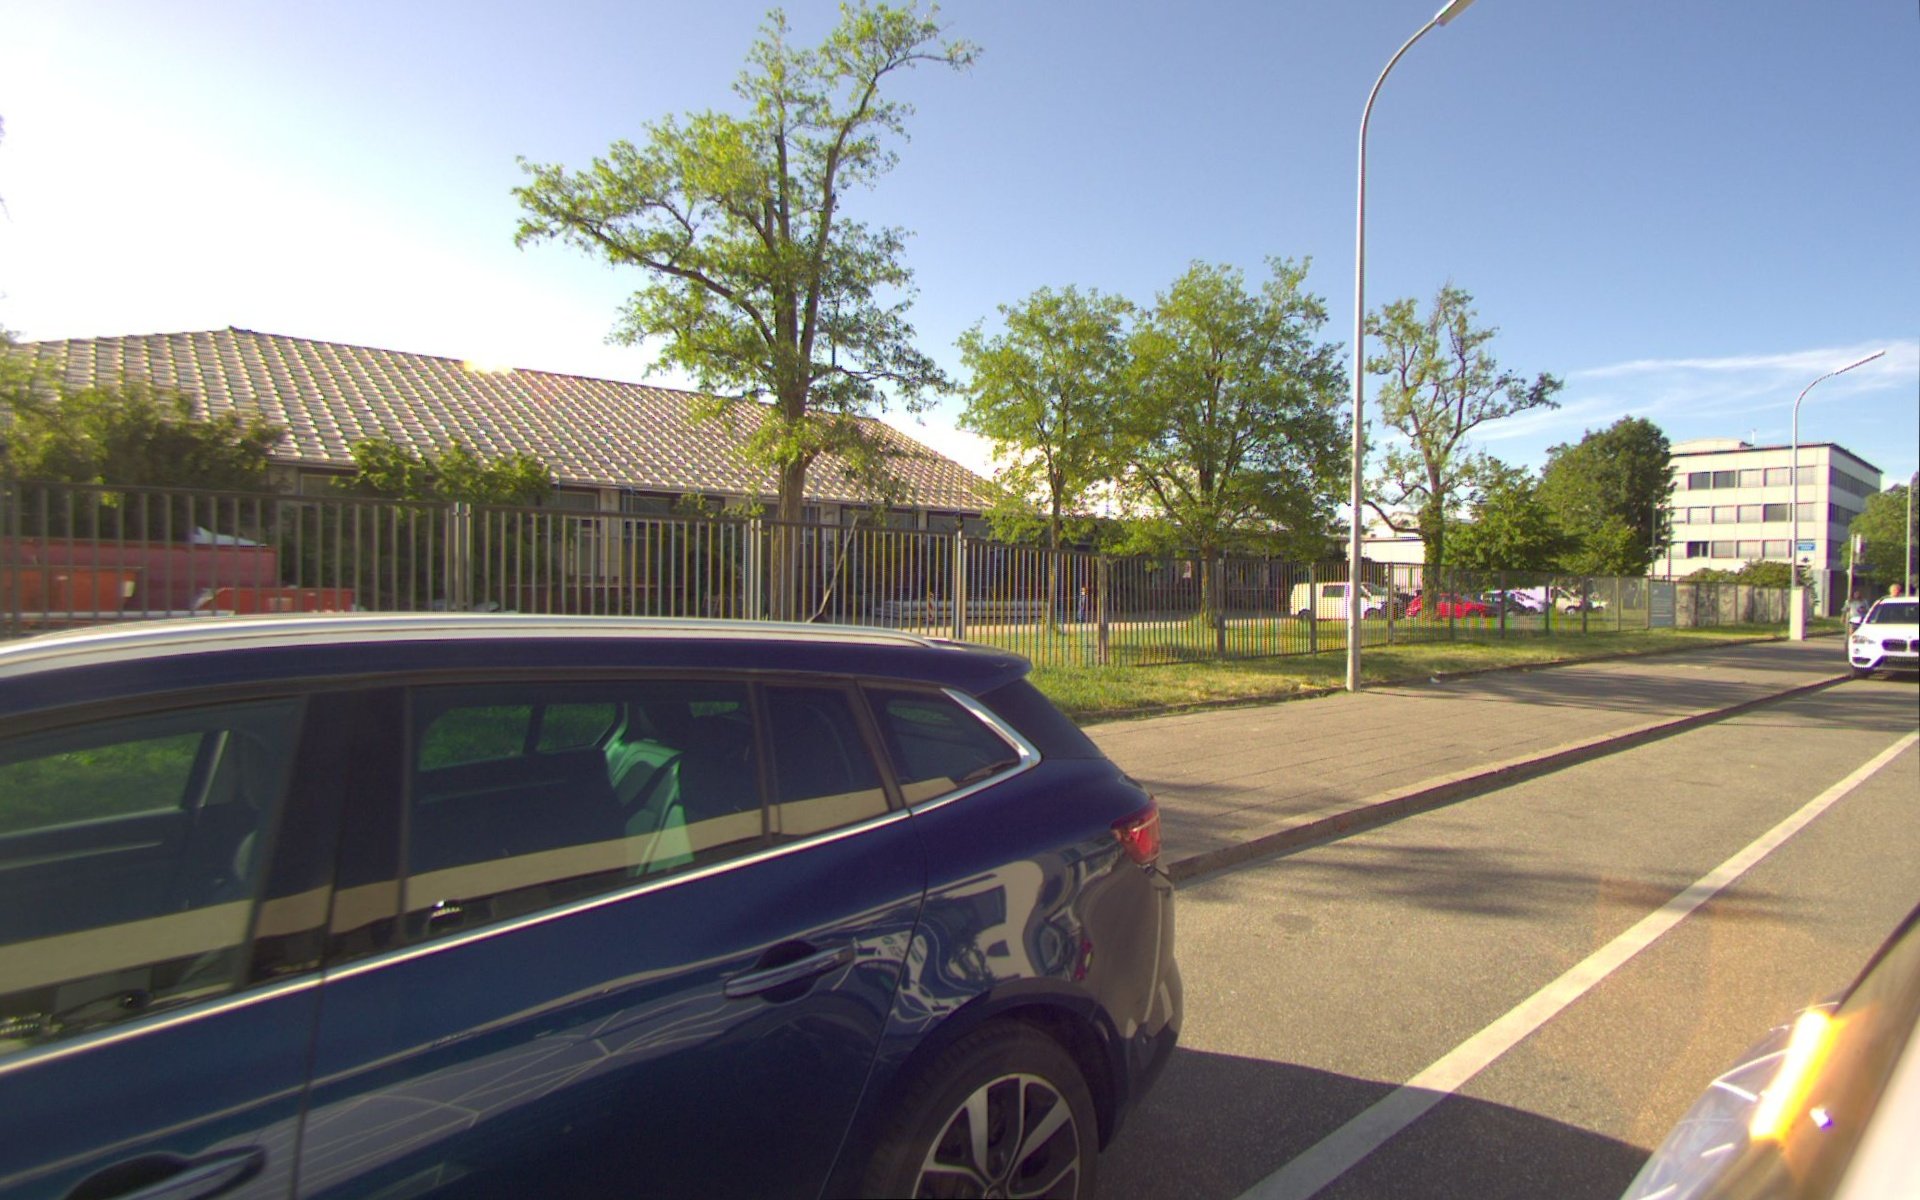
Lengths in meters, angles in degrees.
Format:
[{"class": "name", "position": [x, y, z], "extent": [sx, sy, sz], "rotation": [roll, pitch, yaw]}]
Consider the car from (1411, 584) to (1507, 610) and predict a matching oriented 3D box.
[{"class": "car", "position": [25.941, -0.138, 52.726], "extent": [1.798, 1.268, 4.147], "rotation": [0, 0, -43]}]

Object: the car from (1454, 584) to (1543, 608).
[{"class": "car", "position": [30.702, -0.225, 57.790], "extent": [1.847, 1.268, 4.147], "rotation": [0, 0, -43]}]

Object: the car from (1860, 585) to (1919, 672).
[{"class": "car", "position": [19.178, 0.516, 19.894], "extent": [4.189, 1.608, 1.815], "rotation": [0, 0, -43]}]

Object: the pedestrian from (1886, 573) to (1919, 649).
[{"class": "pedestrian", "position": [21.976, 0.251, 23.580], "extent": [0.514, 1.730, 0.521], "rotation": [-1, -1, -44]}]

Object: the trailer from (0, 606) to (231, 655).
[{"class": "trailer", "position": [-19.065, 0.641, 22.064], "extent": [5.009, 0.931, 1.905], "rotation": [0, 1, -32]}]

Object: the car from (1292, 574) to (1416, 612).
[{"class": "car", "position": [18.159, -0.288, 46.860], "extent": [2.060, 1.665, 4.971], "rotation": [0, 0, -43]}]

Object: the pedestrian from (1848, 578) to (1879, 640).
[{"class": "pedestrian", "position": [24.287, 0.243, 27.199], "extent": [0.672, 1.632, 0.539], "rotation": [-1, -1, -43]}]

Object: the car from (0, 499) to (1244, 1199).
[{"class": "car", "position": [-1.502, 0.610, 1.723], "extent": [4.139, 1.471, 1.821], "rotation": [0, 2, -40]}]

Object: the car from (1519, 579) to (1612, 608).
[{"class": "car", "position": [37.900, -0.406, 63.417], "extent": [4.630, 1.689, 1.968], "rotation": [2, 1, 45]}]

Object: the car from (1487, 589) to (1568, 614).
[{"class": "car", "position": [33.850, 0.071, 60.431], "extent": [1.647, 1.397, 3.893], "rotation": [0, 1, -43]}]
